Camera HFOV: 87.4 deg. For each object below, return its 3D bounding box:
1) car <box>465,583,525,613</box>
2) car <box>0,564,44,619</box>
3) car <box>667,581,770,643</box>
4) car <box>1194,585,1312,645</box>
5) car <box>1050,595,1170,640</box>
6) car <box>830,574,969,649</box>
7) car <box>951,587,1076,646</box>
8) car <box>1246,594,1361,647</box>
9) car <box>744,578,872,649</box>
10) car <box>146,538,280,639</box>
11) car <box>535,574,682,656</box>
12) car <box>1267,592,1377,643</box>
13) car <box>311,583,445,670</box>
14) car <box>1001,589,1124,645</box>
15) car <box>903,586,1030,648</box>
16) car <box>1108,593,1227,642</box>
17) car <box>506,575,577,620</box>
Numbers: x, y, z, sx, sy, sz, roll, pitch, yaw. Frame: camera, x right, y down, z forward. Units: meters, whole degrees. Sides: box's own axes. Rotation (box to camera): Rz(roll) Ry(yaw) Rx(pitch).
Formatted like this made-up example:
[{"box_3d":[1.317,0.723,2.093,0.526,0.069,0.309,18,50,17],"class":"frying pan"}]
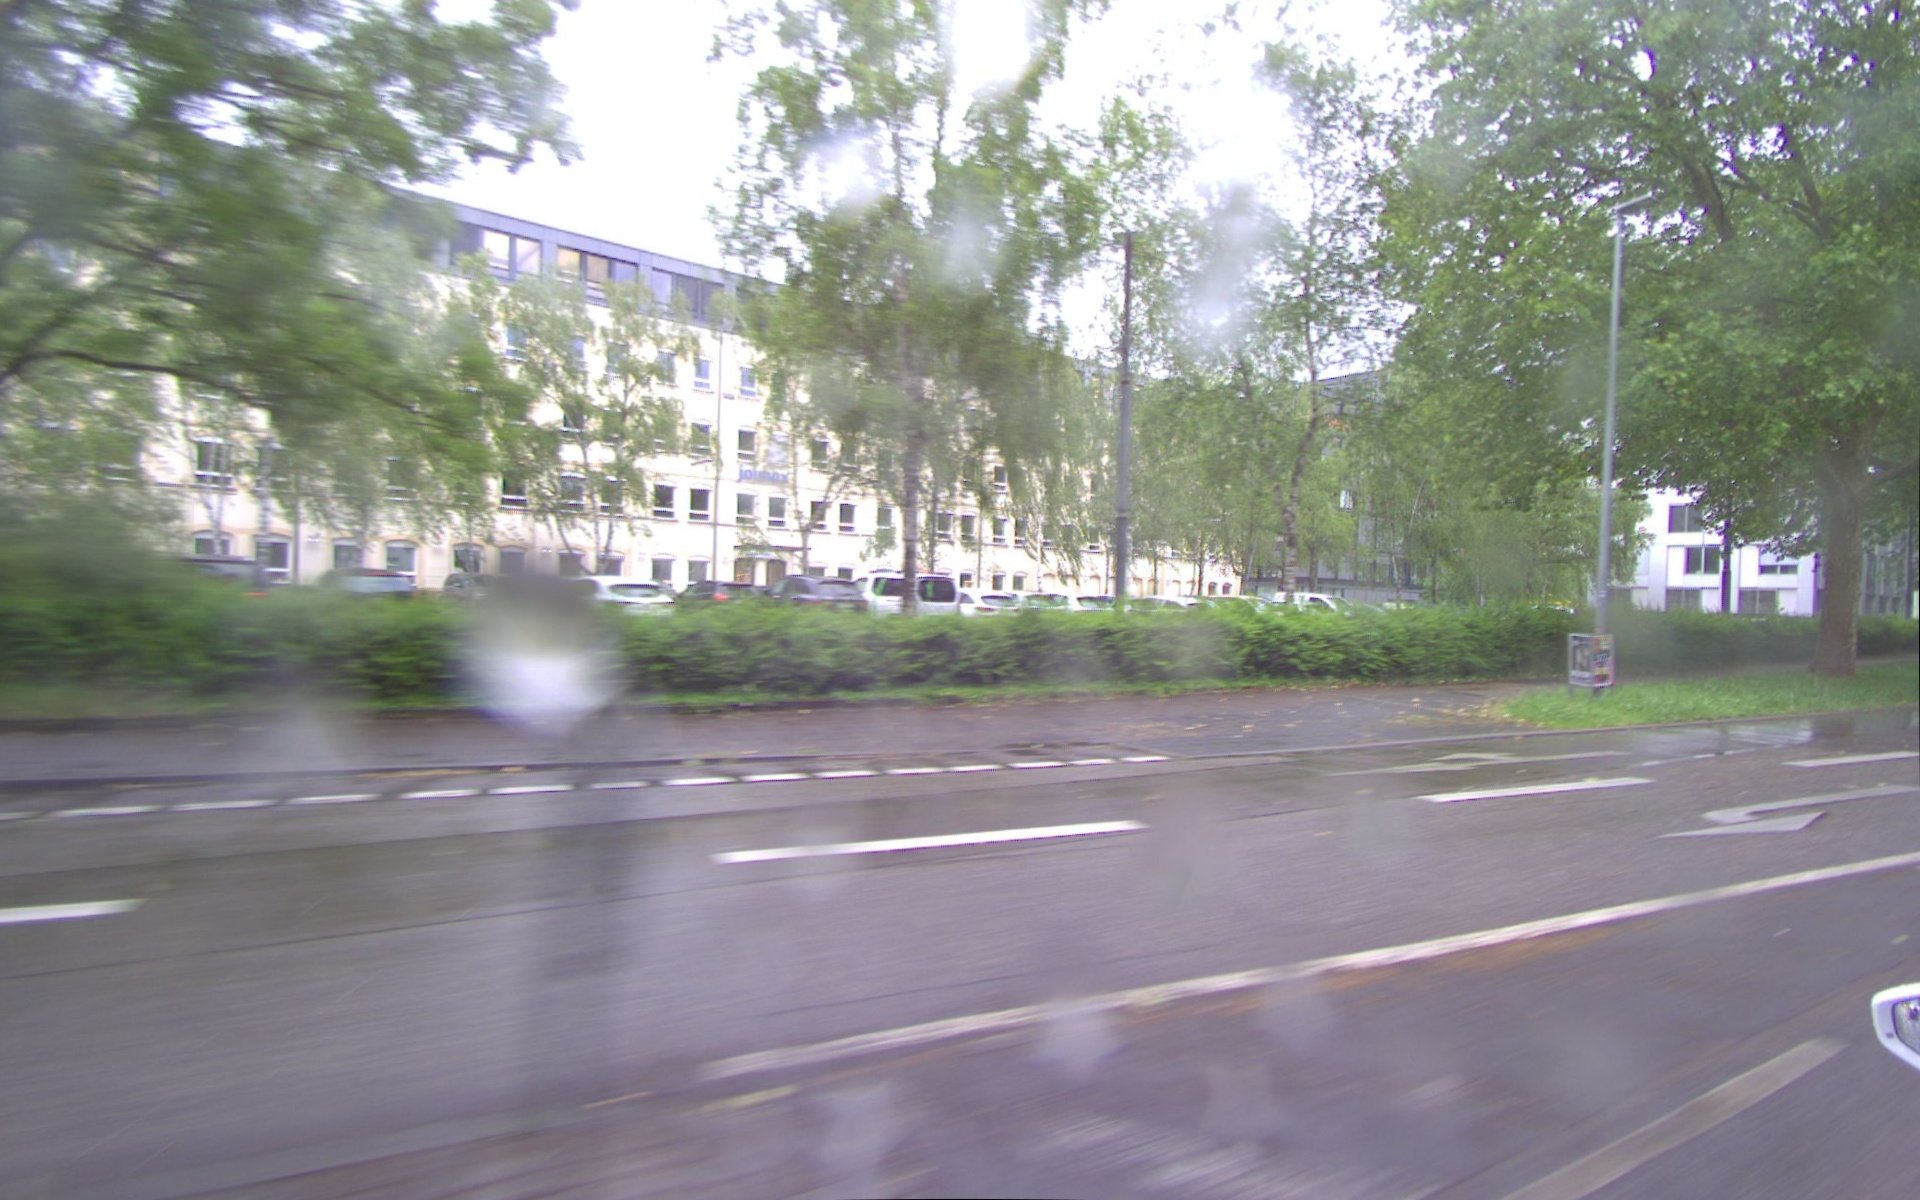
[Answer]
[{"box_3d":[-19.211,-0.087,41.443,1.634,1.138,3.962,2,0,-34],"class":"car"},{"box_3d":[-28.359,-0.271,29.391,1.982,1.539,3.956,1,0,-38],"class":"car"},{"box_3d":[-7.445,0.322,30.722,1.692,1.684,3.959,1,1,-36],"class":"car"},{"box_3d":[11.167,0.553,38.502,1.980,2.161,3.961,1,0,-35],"class":"car"},{"box_3d":[5.031,0.575,34.181,1.866,1.392,3.963,1,0,-33],"class":"car"},{"box_3d":[-1.742,0.272,27.769,1.839,1.857,3.954,1,1,-39],"class":"car"},{"box_3d":[1.609,0.481,31.622,1.836,1.620,3.959,1,1,-36],"class":"car"},{"box_3d":[13.684,0.783,40.232,1.980,2.040,3.960,1,0,-35],"class":"car"},{"box_3d":[-4.053,0.294,26.334,1.692,1.660,3.959,1,1,-36],"class":"car"},{"box_3d":[-13.545,-0.235,18.407,1.633,1.633,3.964,1,1,-32],"class":"car"},{"box_3d":[-8.233,0.287,23.324,1.983,1.660,3.954,1,1,-40],"class":"car"},{"box_3d":[15.193,0.701,42.328,1.980,2.040,3.960,1,0,-35],"class":"car"},{"box_3d":[-10.475,0.417,18.325,1.693,1.356,3.975,1,1,-24],"class":"car"},{"box_3d":[3.293,0.528,32.976,1.836,1.620,3.959,1,1,-36],"class":"car"},{"box_3d":[0.136,0.459,29.514,1.704,1.620,3.775,1,1,-39],"class":"car"},{"box_3d":[7.296,0.597,35.704,1.866,1.571,3.963,1,1,-33],"class":"car"},{"box_3d":[-15.695,-0.116,37.555,1.634,1.574,3.960,2,0,-35],"class":"car"}]
